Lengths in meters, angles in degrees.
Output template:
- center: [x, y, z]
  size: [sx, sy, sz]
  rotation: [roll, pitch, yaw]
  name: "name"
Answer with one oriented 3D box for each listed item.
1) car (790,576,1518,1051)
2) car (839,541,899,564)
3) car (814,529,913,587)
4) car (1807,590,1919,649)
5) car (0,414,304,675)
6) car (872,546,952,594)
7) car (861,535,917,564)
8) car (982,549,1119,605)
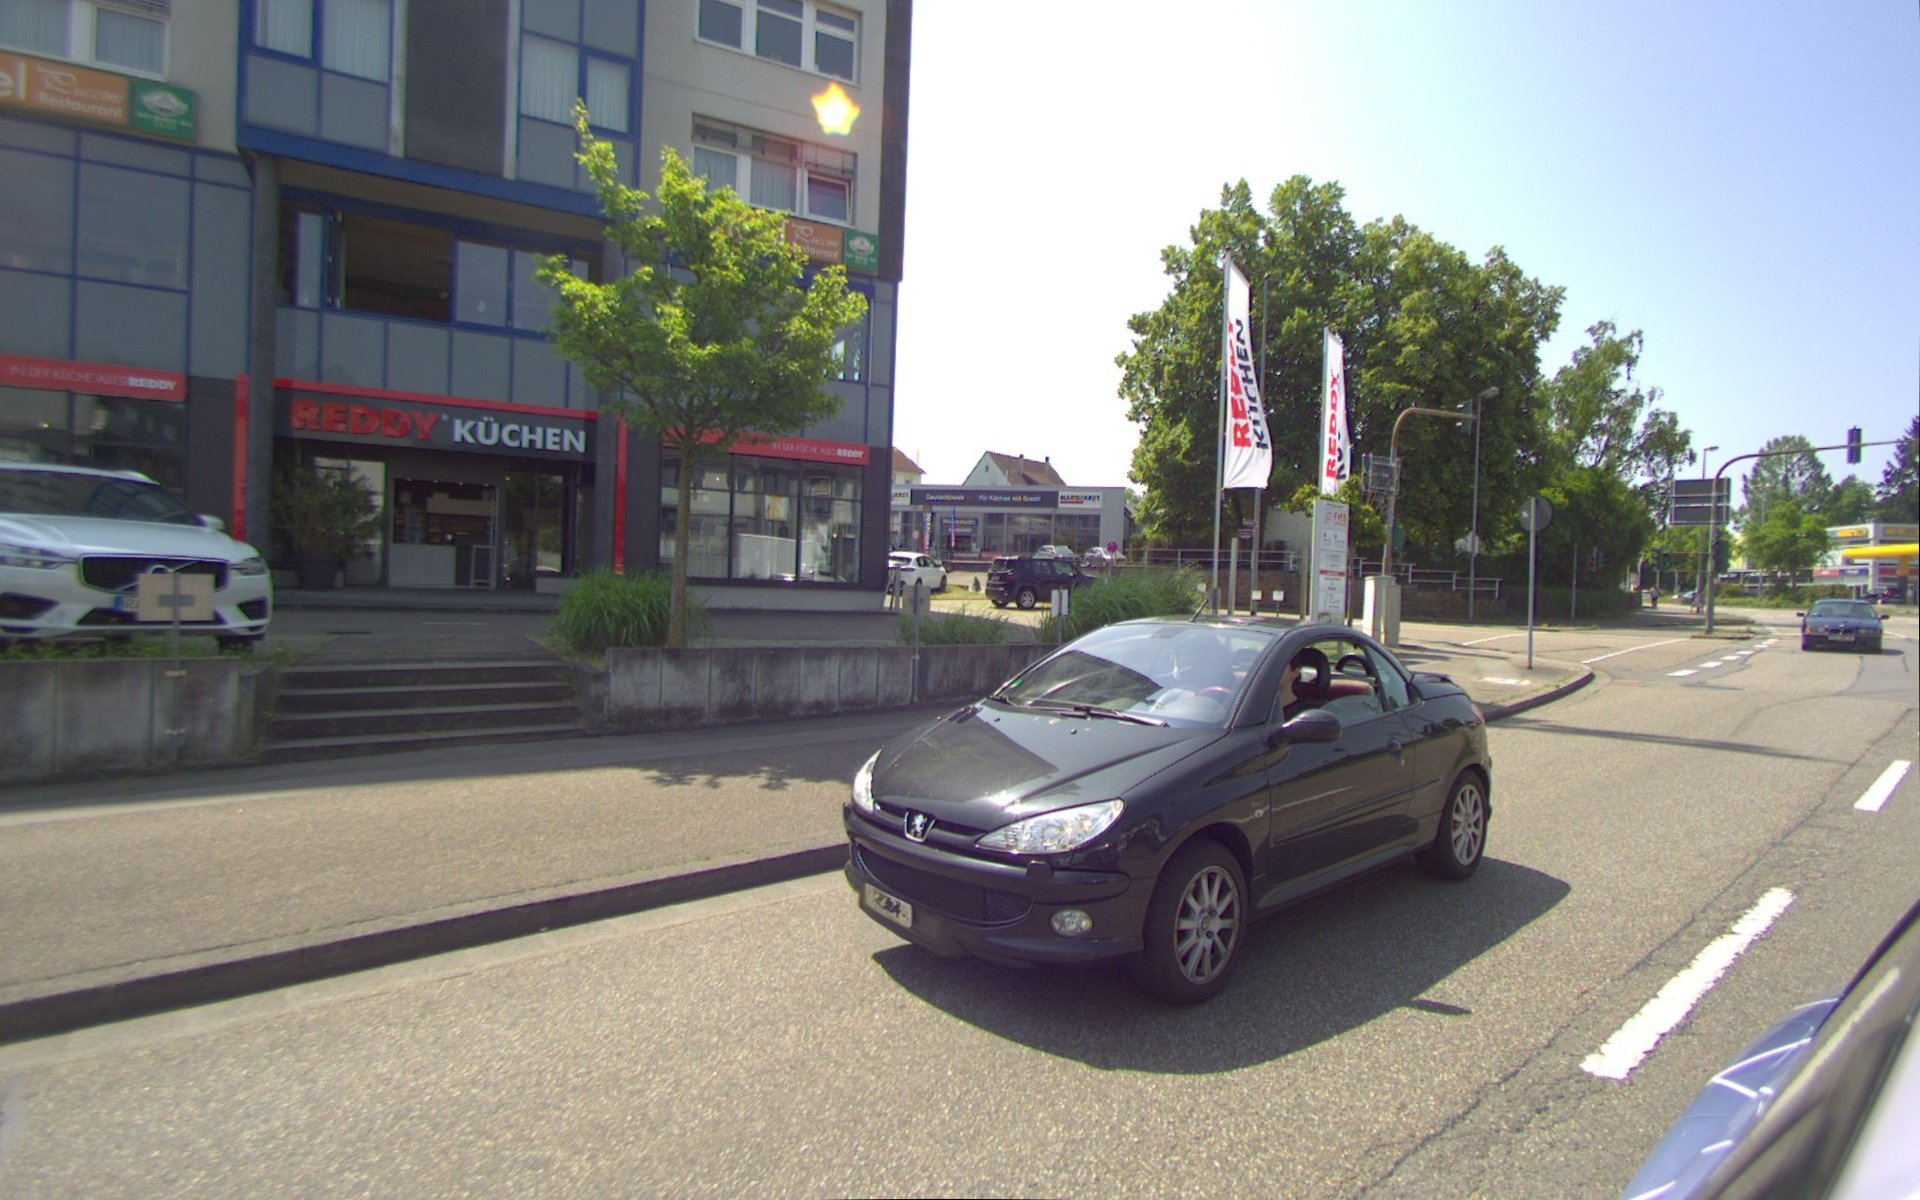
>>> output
- center: [1.155, 0.648, 4.886]
  size: [3.598, 1.443, 1.602]
  rotation: [1, 0, -42]
  name: "car"
- center: [-6.996, -3.649, 77.694]
  size: [4.114, 1.474, 1.993]
  rotation: [4, 2, 13]
  name: "car"
- center: [-3.636, -1.548, 39.327]
  size: [1.866, 2.063, 5.160]
  rotation: [-1, 0, 19]
  name: "car"
- center: [24.204, 0.469, 26.882]
  size: [3.925, 1.390, 1.698]
  rotation: [-1, 2, -36]
  name: "car"
- center: [-7.865, -0.397, 8.763]
  size: [4.706, 1.735, 1.976]
  rotation: [0, 1, 34]
  name: "car"
- center: [-1.692, -1.140, 37.024]
  size: [1.524, 1.550, 4.202]
  rotation: [2, 4, 18]
  name: "car"
- center: [-5.638, -4.002, 80.311]
  size: [3.940, 2.038, 1.993]
  rotation: [4, 2, 13]
  name: "car"
- center: [2.916, -0.731, 32.454]
  size: [4.242, 1.696, 1.546]
  rotation: [0, 1, -30]
  name: "car"
